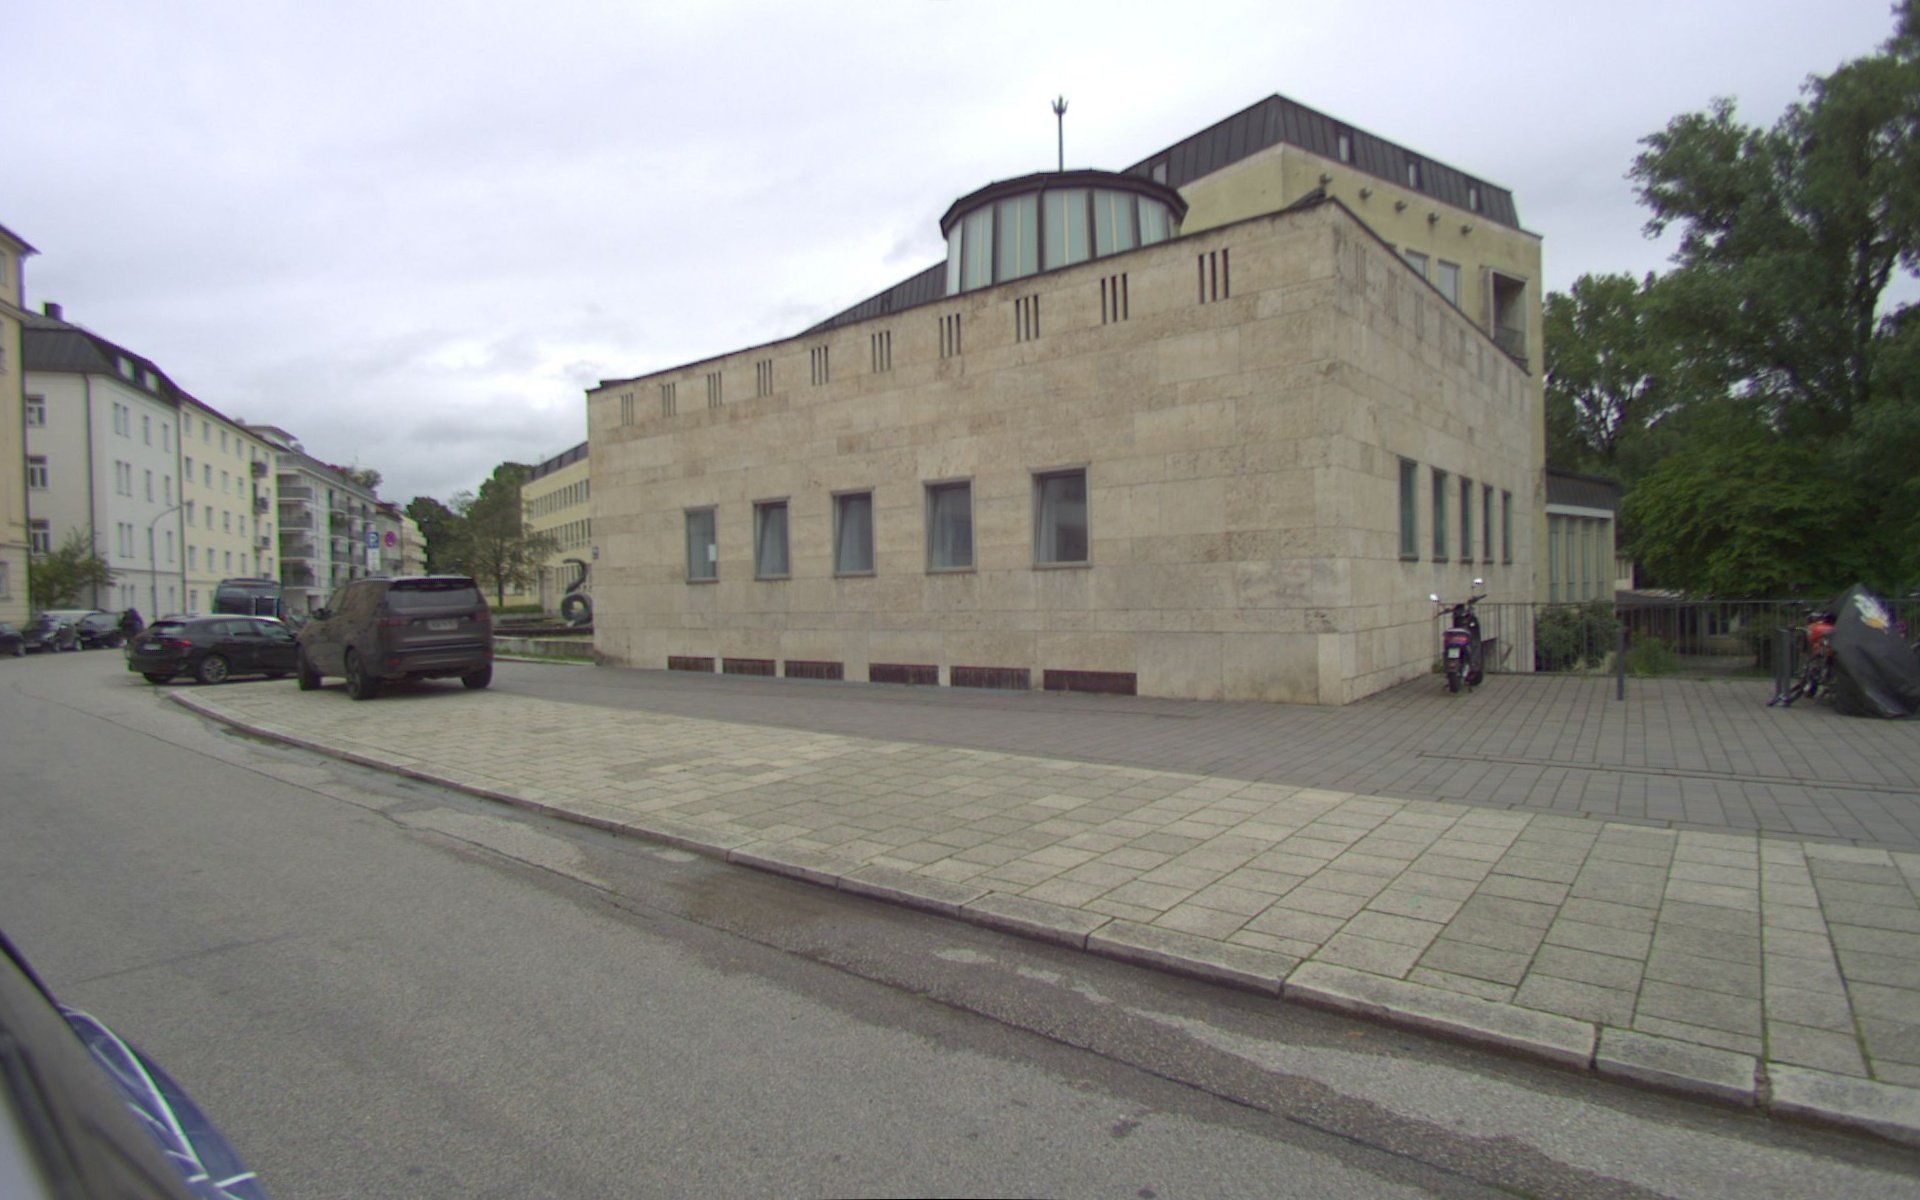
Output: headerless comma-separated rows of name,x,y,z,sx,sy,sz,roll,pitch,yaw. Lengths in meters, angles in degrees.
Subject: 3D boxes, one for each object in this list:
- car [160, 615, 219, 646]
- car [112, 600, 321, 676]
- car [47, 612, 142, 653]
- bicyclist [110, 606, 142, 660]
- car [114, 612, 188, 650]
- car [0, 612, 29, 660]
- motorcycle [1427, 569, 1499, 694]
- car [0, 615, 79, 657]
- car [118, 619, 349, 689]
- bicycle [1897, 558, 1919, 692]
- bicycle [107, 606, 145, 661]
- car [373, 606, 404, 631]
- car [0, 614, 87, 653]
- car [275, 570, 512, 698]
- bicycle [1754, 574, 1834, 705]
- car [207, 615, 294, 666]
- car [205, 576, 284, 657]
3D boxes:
car,-45.497,1.765,59.842,1.753,1.602,3.714,-4,2,-22
car,-18.590,0.901,25.528,1.662,1.541,3.959,-3,2,18
car,-40.928,1.525,47.985,1.901,1.743,4.702,-4,0,-21
bicyclist,-27.342,1.078,33.170,0.739,1.730,1.033,-1,-1,-43
car,-43.216,1.631,54.172,1.753,1.742,4.404,-4,2,-21
car,-36.480,1.393,37.352,1.811,1.742,3.742,-4,2,-21
motorcycle,6.250,0.354,12.536,0.514,1.415,1.550,-2,2,36
car,-39.074,1.509,42.967,1.486,1.568,2.872,-4,2,-20
car,-16.078,1.125,22.662,1.734,1.383,3.986,0,-1,16
bicycle,10.035,0.273,10.109,0.612,1.362,2.081,-2,2,33
bicycle,-27.553,1.114,33.408,0.785,1.735,3.118,1,-3,-43
car,-49.238,1.557,87.215,1.916,1.991,4.370,0,0,-24
car,-46.946,1.664,50.482,4.840,1.785,1.892,-1,0,-28
car,-9.412,0.516,16.622,4.814,1.785,1.972,-2,0,43
bicycle,8.899,0.387,10.832,0.461,1.269,1.439,-2,2,33
car,-21.360,1.193,30.412,1.804,1.398,4.149,3,-3,-39
car,-25.241,0.557,35.771,2.115,2.593,6.227,0,0,-35
